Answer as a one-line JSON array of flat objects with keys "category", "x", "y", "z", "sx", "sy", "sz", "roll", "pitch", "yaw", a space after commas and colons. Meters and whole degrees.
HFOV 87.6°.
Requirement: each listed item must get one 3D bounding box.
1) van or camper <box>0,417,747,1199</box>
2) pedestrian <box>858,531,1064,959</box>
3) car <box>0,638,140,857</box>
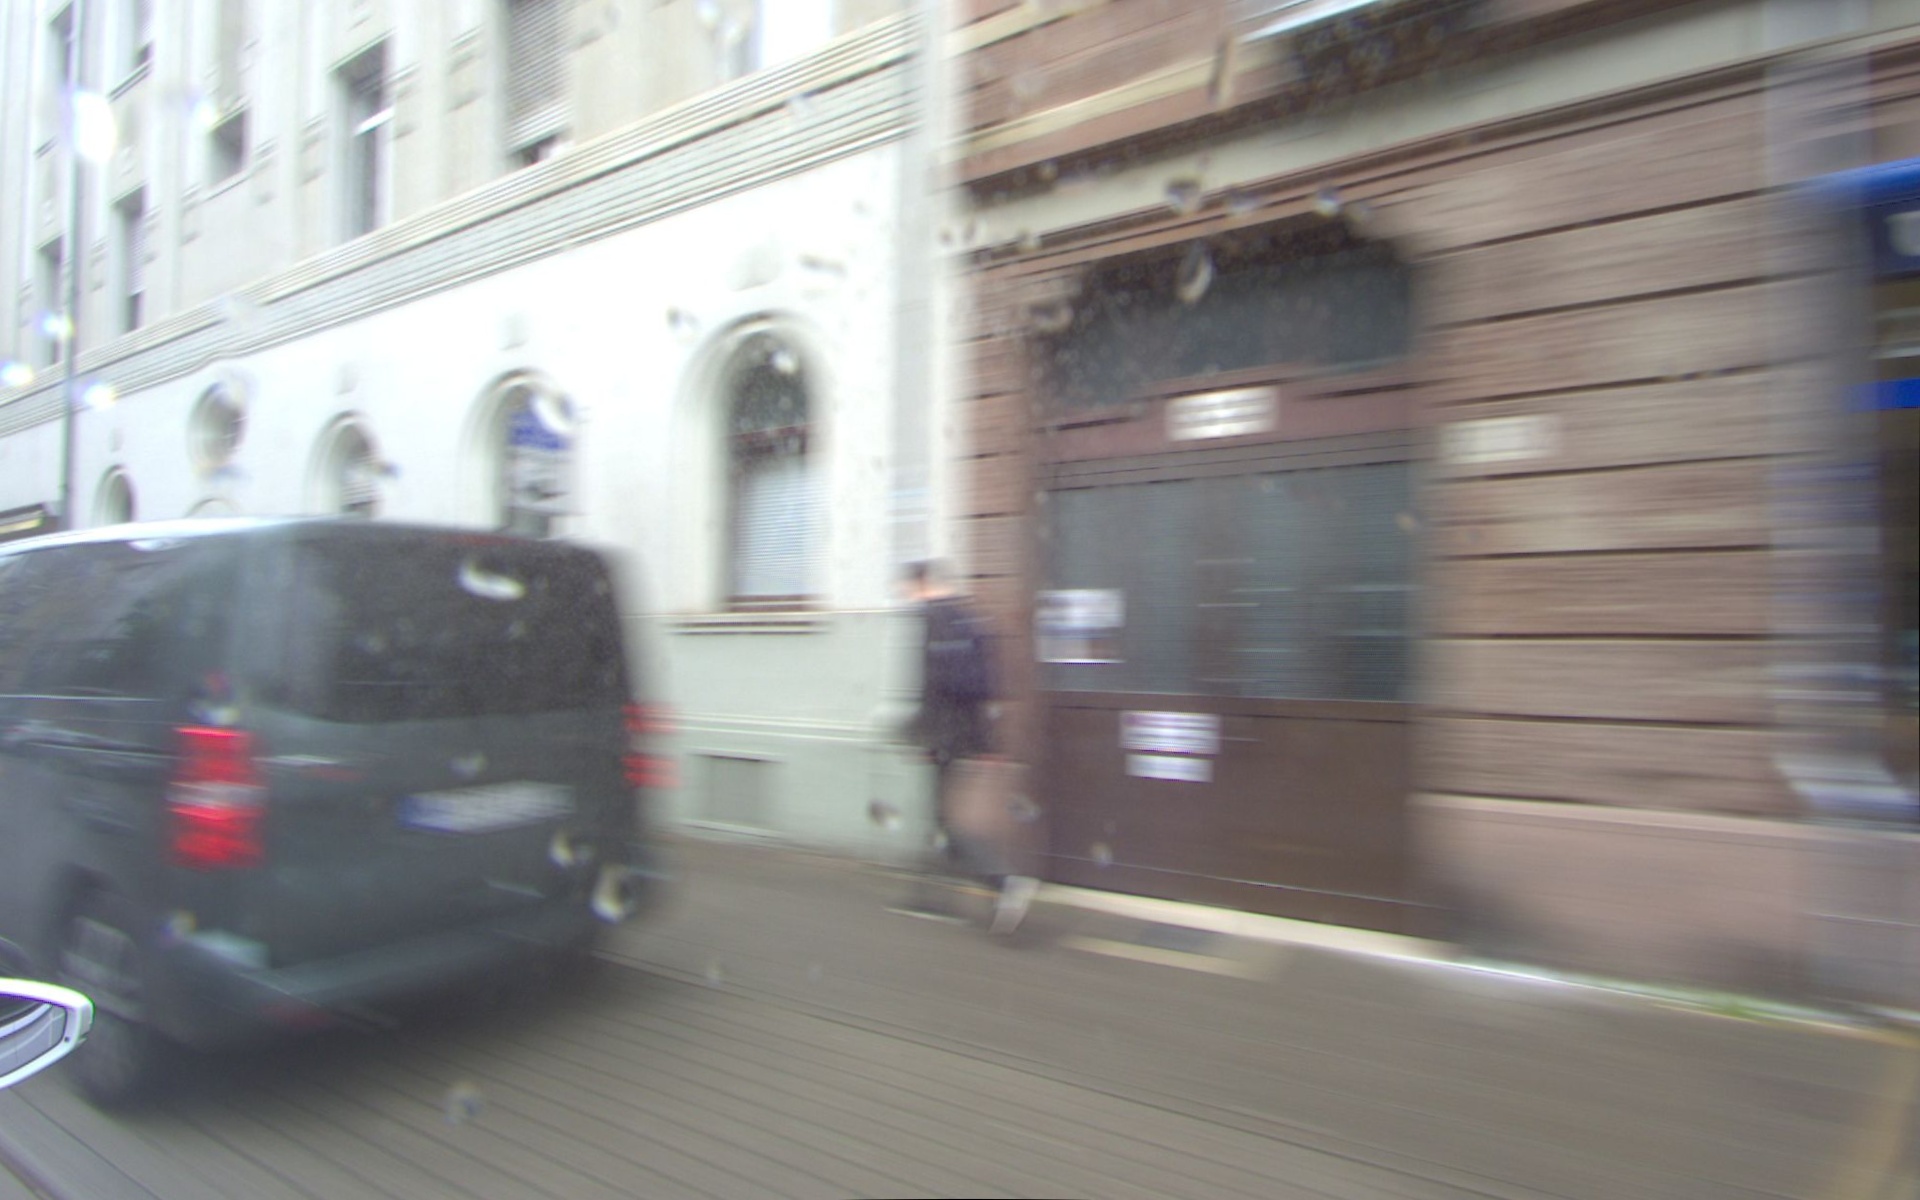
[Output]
[{"category": "van or camper", "x": -3.502, "y": 0.593, "z": 4.562, "sx": 4.983, "sy": 1.915, "sz": 2.018, "roll": -1, "pitch": -2, "yaw": 32}, {"category": "pedestrian", "x": 0.002, "y": 0.670, "z": 5.107, "sx": 0.801, "sy": 1.960, "sz": 0.675, "roll": 1, "pitch": 0, "yaw": 42}, {"category": "car", "x": -7.898, "y": 1.003, "z": 7.452, "sx": 3.652, "sy": 1.418, "sz": 1.707, "roll": -1, "pitch": -2, "yaw": 32}]
